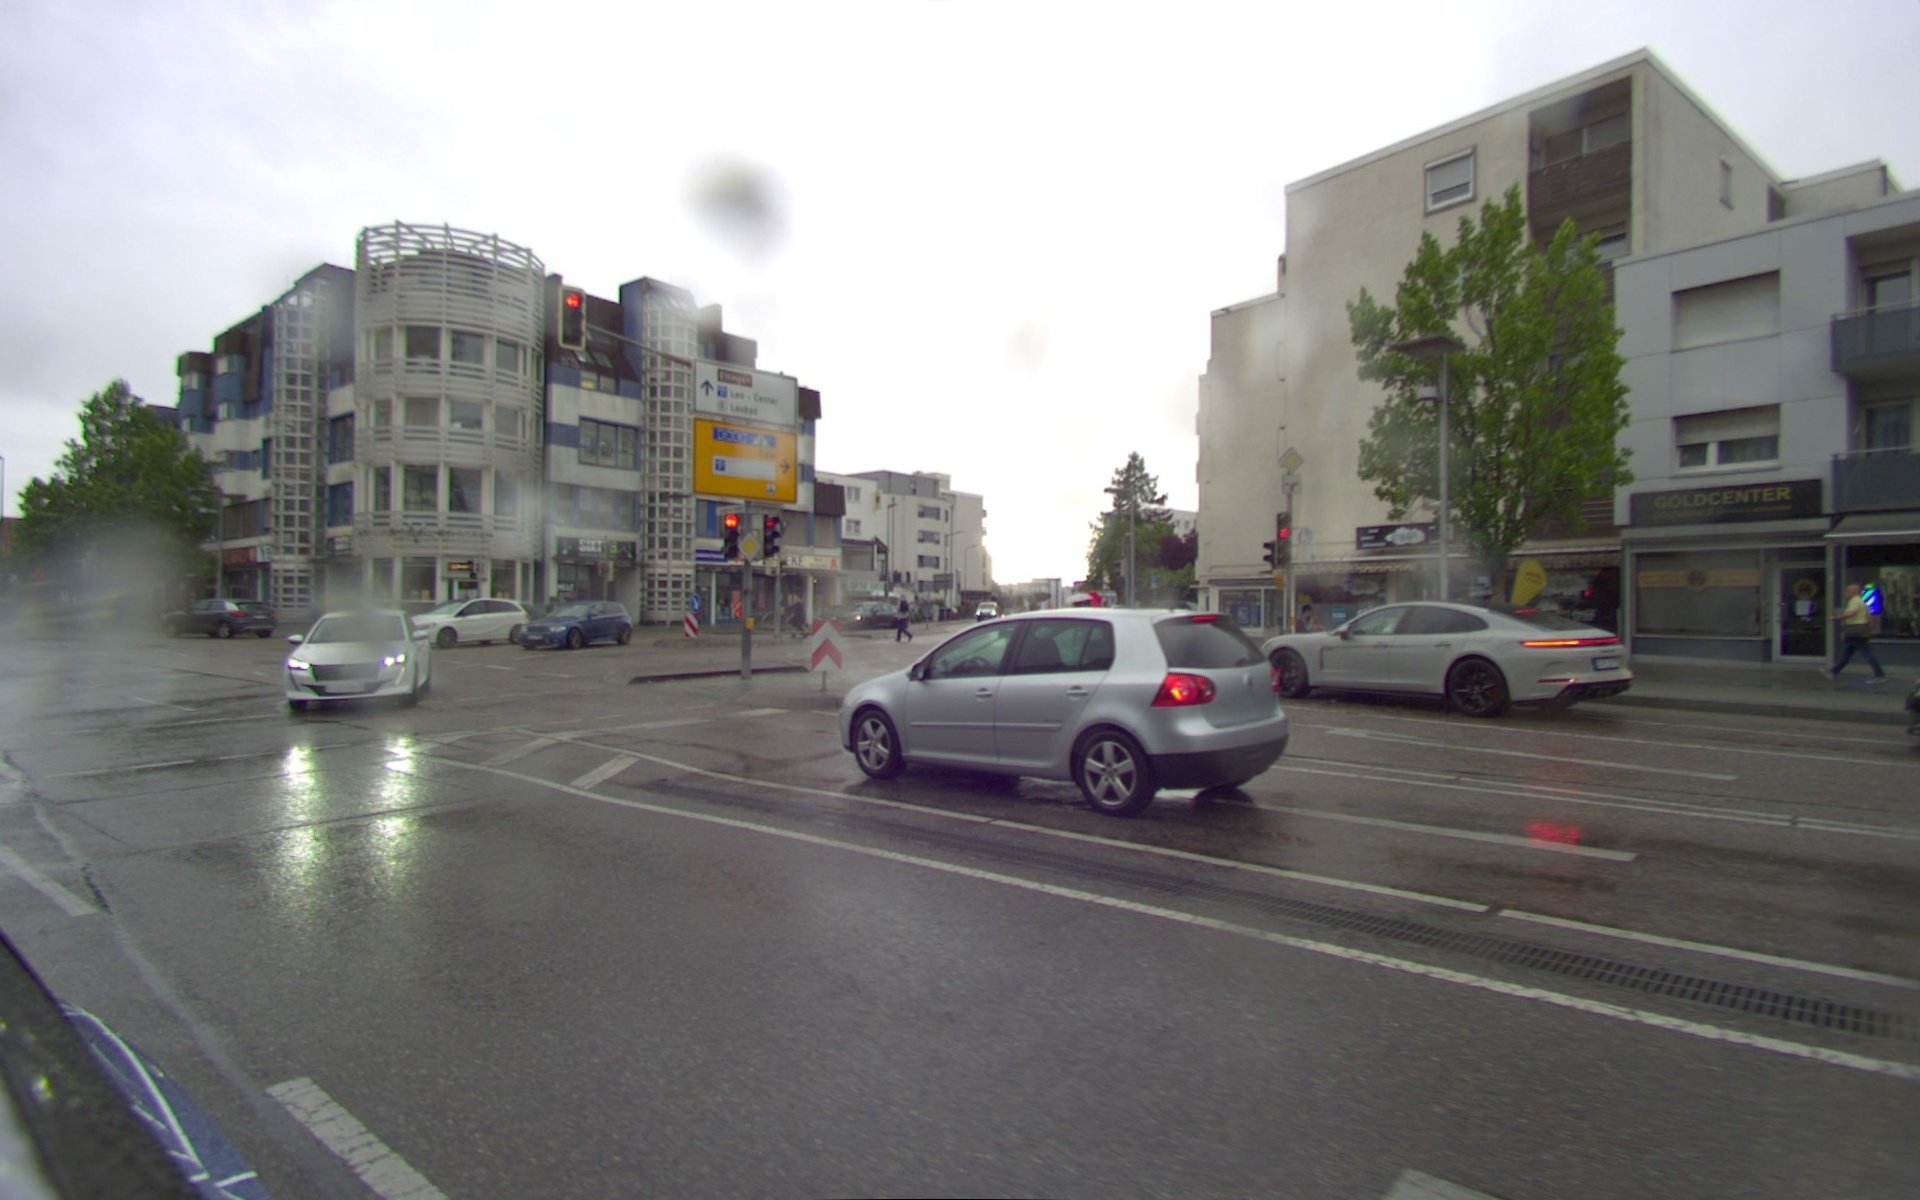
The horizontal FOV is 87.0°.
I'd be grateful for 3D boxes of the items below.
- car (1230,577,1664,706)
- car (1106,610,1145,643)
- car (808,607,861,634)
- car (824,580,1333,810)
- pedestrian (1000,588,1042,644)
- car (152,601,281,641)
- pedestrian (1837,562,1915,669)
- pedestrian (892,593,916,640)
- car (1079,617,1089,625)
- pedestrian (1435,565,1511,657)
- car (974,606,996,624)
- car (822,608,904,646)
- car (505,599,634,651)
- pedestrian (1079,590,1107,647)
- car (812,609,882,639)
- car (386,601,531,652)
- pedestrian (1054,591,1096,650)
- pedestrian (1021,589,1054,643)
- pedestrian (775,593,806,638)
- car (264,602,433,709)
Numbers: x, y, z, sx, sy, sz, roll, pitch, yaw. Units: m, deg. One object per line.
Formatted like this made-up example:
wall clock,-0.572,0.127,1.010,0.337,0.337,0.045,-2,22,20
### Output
car,6.406,0.419,14.071,2.087,1.424,5.162,-2,2,-30
car,8.147,1.300,50.152,1.816,1.471,4.177,-1,0,8
car,-7.110,1.171,57.782,1.641,1.382,3.711,3,1,16
car,0.783,0.649,8.428,3.994,1.452,1.721,-2,-1,45
pedestrian,1.954,0.502,32.392,1.133,1.757,0.852,0,0,27
car,-28.601,0.810,38.983,4.003,1.455,1.730,-1,1,11
pedestrian,16.198,0.260,17.899,0.861,1.824,0.926,0,0,-40
pedestrian,-2.006,0.571,36.481,0.706,1.668,0.813,0,0,9
car,22.742,3.846,185.673,1.851,1.447,3.731,0,1,9
pedestrian,9.361,0.186,18.483,0.935,1.635,0.812,0,0,-24
car,2.502,1.451,99.236,1.725,1.652,3.990,0,1,8
car,-4.506,1.249,47.480,1.990,1.627,3.964,-2,0,27
car,-12.038,0.722,31.440,1.738,1.465,3.790,0,1,19
pedestrian,3.995,0.539,30.454,0.669,1.697,0.801,1,1,21
car,-5.746,1.196,51.861,1.792,1.379,3.938,0,1,26
car,-16.252,0.819,32.981,1.726,1.540,4.026,0,-1,27
pedestrian,3.365,0.574,29.551,0.934,1.690,0.907,0,0,30
pedestrian,2.543,0.507,33.144,0.831,1.749,0.946,1,1,23
pedestrian,-6.172,0.550,36.849,0.656,1.597,0.902,1,0,37
car,-9.676,0.784,16.302,1.714,1.420,3.909,-1,1,-22
